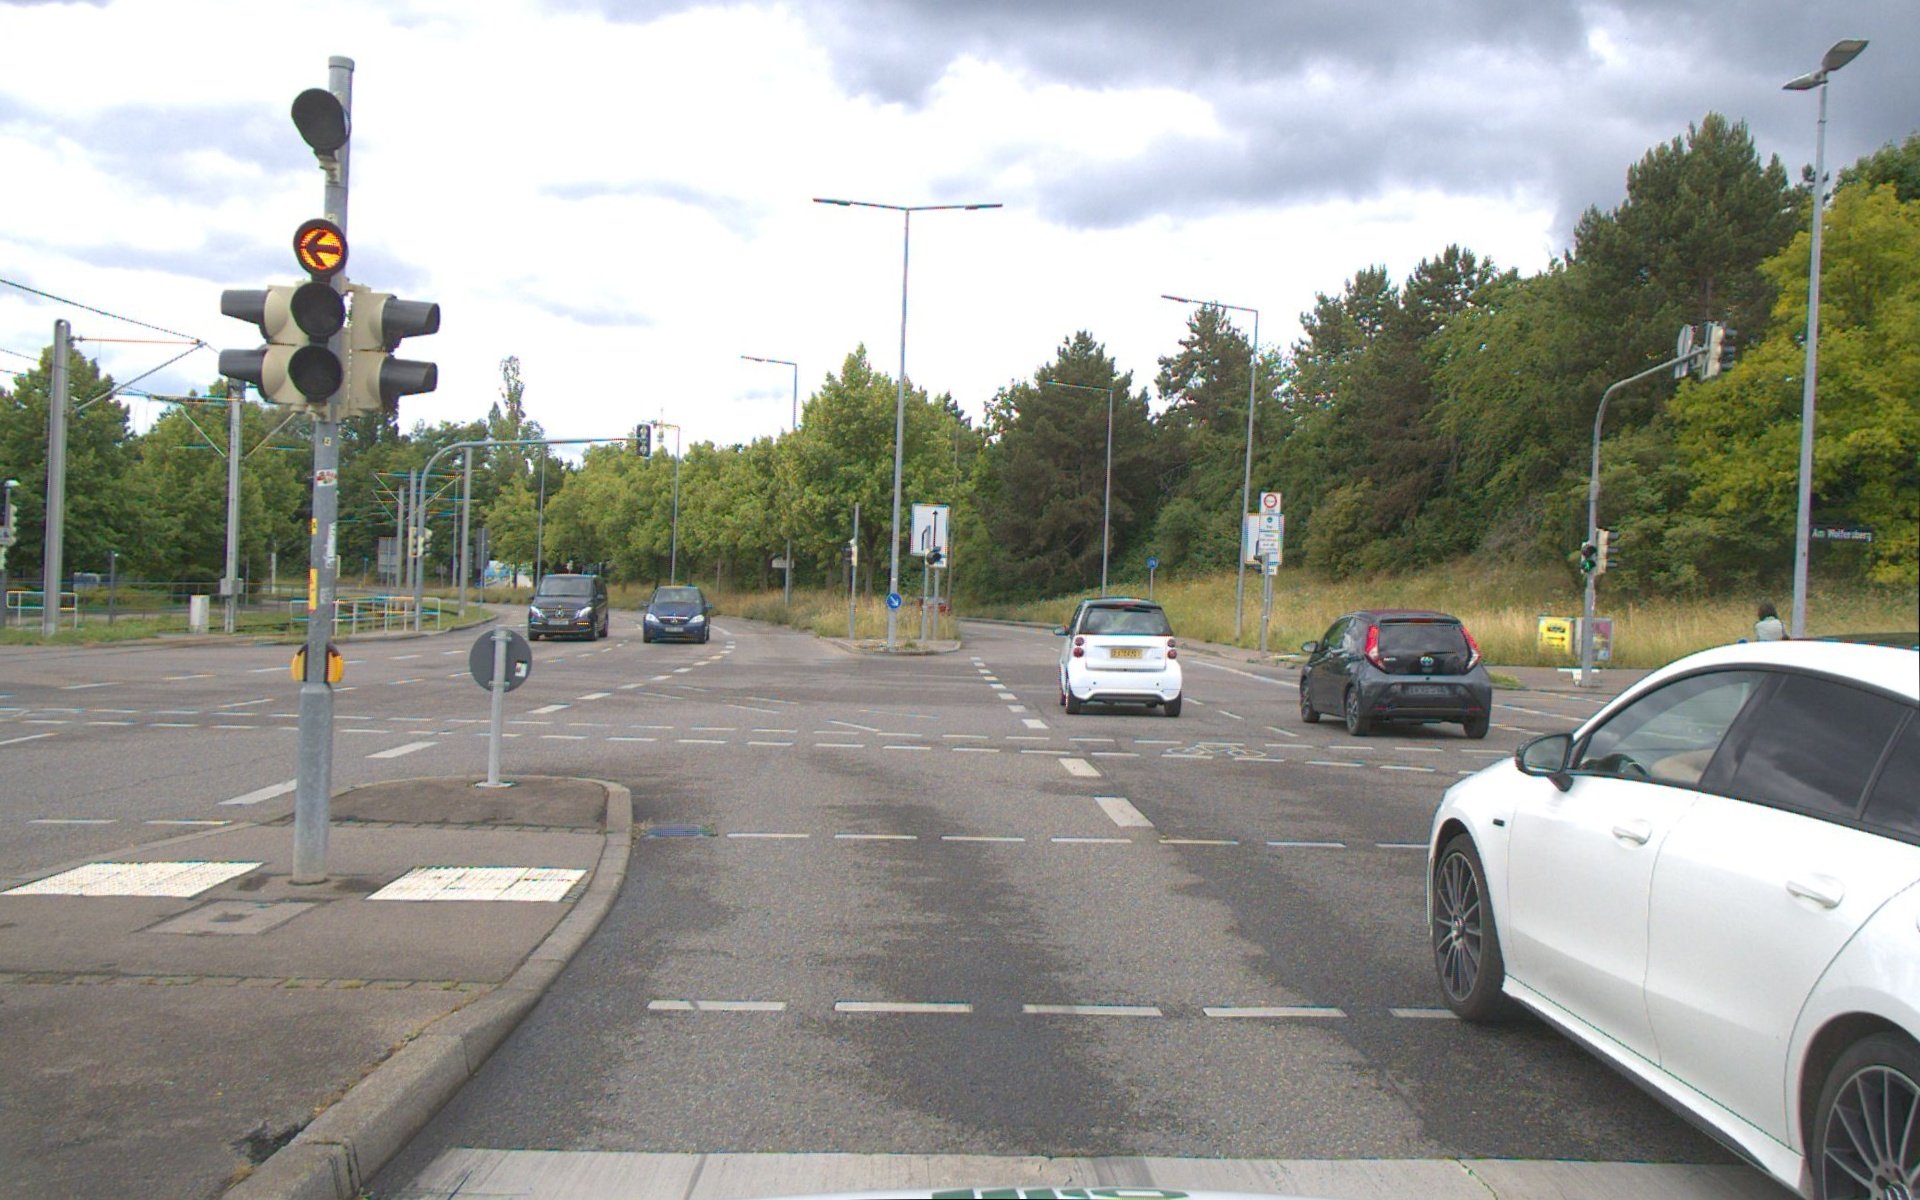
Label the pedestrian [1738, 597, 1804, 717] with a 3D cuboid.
[{"bbox_3d":[11.703,0.817,23.891,0.630,1.691,0.714,1,-1,6],"label":"pedestrian"}]

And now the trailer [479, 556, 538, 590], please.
[{"bbox_3d":[-41.800,-2.465,153.103,2.734,3.065,5.989,1,-1,-44],"label":"trailer"}]

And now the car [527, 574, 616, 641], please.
[{"bbox_3d":[-11.302,0.194,48.429,1.851,1.844,5.086,0,0,-5],"label":"car"}]

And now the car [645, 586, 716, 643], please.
[{"bbox_3d":[-7.989,0.416,47.534,1.702,1.535,3.656,1,0,-5],"label":"car"}]

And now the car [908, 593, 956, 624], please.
[{"bbox_3d":[-1.564,0.451,90.515,1.755,1.631,3.872,1,0,-15],"label":"car"}]

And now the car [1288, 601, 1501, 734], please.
[{"bbox_3d":[5.294,0.775,20.612,1.580,1.479,3.881,1,0,-1],"label":"car"}]

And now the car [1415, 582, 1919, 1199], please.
[{"bbox_3d":[2.765,0.754,4.445,1.806,1.533,4.530,1,0,0],"label":"car"}]

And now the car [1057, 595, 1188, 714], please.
[{"bbox_3d":[2.218,0.726,23.161,1.559,1.543,2.766,1,0,0],"label":"car"}]
